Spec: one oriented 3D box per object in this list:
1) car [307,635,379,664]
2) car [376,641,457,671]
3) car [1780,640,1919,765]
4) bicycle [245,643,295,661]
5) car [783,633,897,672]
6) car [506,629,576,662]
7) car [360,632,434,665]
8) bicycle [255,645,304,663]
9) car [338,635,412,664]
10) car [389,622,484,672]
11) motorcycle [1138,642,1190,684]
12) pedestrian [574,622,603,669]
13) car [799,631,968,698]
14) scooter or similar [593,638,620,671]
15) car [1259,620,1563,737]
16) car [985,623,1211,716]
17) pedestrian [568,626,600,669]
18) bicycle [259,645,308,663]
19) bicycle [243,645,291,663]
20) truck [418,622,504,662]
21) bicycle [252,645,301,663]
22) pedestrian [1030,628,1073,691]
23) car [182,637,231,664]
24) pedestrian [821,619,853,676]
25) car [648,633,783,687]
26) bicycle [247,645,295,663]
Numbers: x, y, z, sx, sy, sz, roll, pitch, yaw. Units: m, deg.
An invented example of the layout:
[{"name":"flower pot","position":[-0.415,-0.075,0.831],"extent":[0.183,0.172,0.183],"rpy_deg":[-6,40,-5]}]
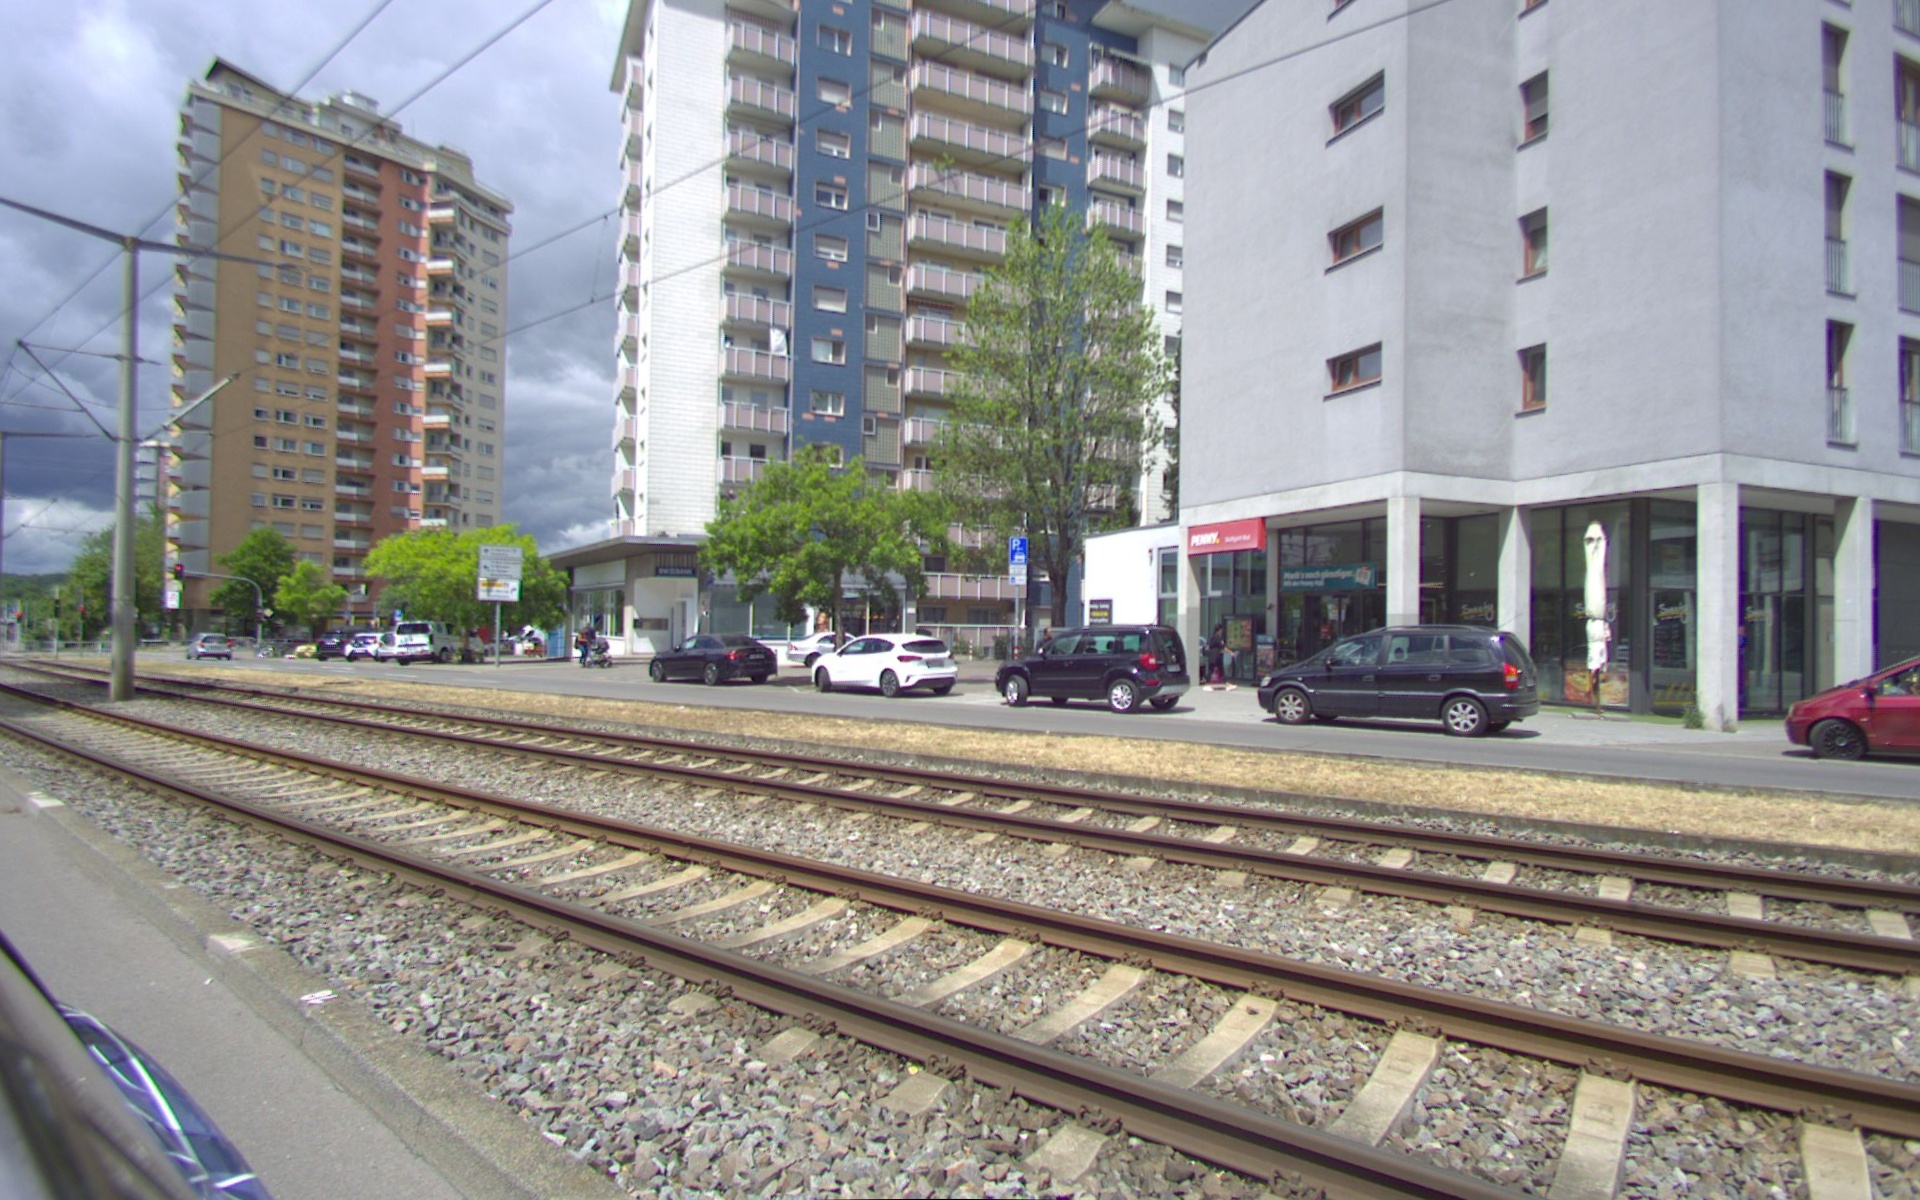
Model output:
[{"name":"car","position":[-35.117,2.848,57.691],"extent":[1.903,1.604,4.005],"rpy_deg":[1,-4,-6]},{"name":"car","position":[-27.040,2.802,50.521],"extent":[1.879,1.394,4.000],"rpy_deg":[0,-3,-1]},{"name":"car","position":[12.041,1.208,11.959],"extent":[1.594,1.437,3.426],"rpy_deg":[4,-5,-42]},{"name":"bicycle","position":[-41.630,3.150,61.070],"extent":[0.717,1.042,2.401],"rpy_deg":[-3,-3,42]},{"name":"car","position":[-4.797,2.109,40.238],"extent":[4.283,1.454,2.005],"rpy_deg":[1,-4,-13]},{"name":"car","position":[-43.014,4.713,104.000],"extent":[6.205,3.324,2.003],"rpy_deg":[3,-5,-40]},{"name":"car","position":[-29.511,2.566,53.220],"extent":[1.877,1.644,4.004],"rpy_deg":[1,-3,-5]},{"name":"bicycle","position":[-42.417,3.375,63.123],"extent":[0.704,1.074,2.401],"rpy_deg":[-3,-5,42]},{"name":"car","position":[-31.524,2.699,54.668],"extent":[1.723,1.508,3.764],"rpy_deg":[0,-3,1]},{"name":"car","position":[-24.023,2.217,46.675],"extent":[1.879,2.173,4.761],"rpy_deg":[0,-3,-1]},{"name":"motorcycle","position":[6.009,1.854,29.743],"extent":[0.740,1.187,1.873],"rpy_deg":[-2,-5,38]},{"name":"pedestrian","position":[-14.585,1.799,39.690],"extent":[0.829,1.806,0.876],"rpy_deg":[3,-4,-34]},{"name":"car","position":[-1.953,1.565,24.761],"extent":[1.733,1.486,4.403],"rpy_deg":[4,-5,-43]},{"name":"scooter or similar","position":[-13.255,2.045,37.987],"extent":[0.761,1.132,0.578],"rpy_deg":[1,3,13]},{"name":"car","position":[7.257,1.238,16.536],"extent":[4.100,1.660,1.971],"rpy_deg":[-3,-5,44]},{"name":"car","position":[2.724,1.354,20.447],"extent":[4.095,1.675,1.974],"rpy_deg":[-3,-3,39]},{"name":"pedestrian","position":[-14.141,1.779,38.099],"extent":[0.976,1.583,0.513],"rpy_deg":[1,3,13]},{"name":"bicycle","position":[-41.830,3.349,62.619],"extent":[0.704,1.074,2.401],"rpy_deg":[-3,-5,42]},{"name":"bicycle","position":[-44.255,3.457,64.670],"extent":[0.704,1.074,2.401],"rpy_deg":[-3,-5,42]},{"name":"truck","position":[-48.813,4.190,99.112],"extent":[6.990,3.703,2.550],"rpy_deg":[3,-5,-42]},{"name":"bicycle","position":[-42.958,3.401,63.616],"extent":[0.704,1.074,2.401],"rpy_deg":[-3,-5,42]},{"name":"pedestrian","position":[2.280,1.487,25.305],"extent":[0.593,1.545,0.975],"rpy_deg":[3,-4,-36]},{"name":"car","position":[-45.445,3.064,60.987],"extent":[1.797,1.544,3.756],"rpy_deg":[4,-5,-45]},{"name":"pedestrian","position":[-3.931,1.533,32.414],"extent":[0.843,1.806,0.605],"rpy_deg":[-3,-5,40]},{"name":"car","position":[-7.167,1.696,29.381],"extent":[4.381,1.439,1.715],"rpy_deg":[-2,-2,44]},{"name":"bicycle","position":[-43.657,3.429,64.141],"extent":[0.704,1.074,2.401],"rpy_deg":[-3,-5,42]}]
